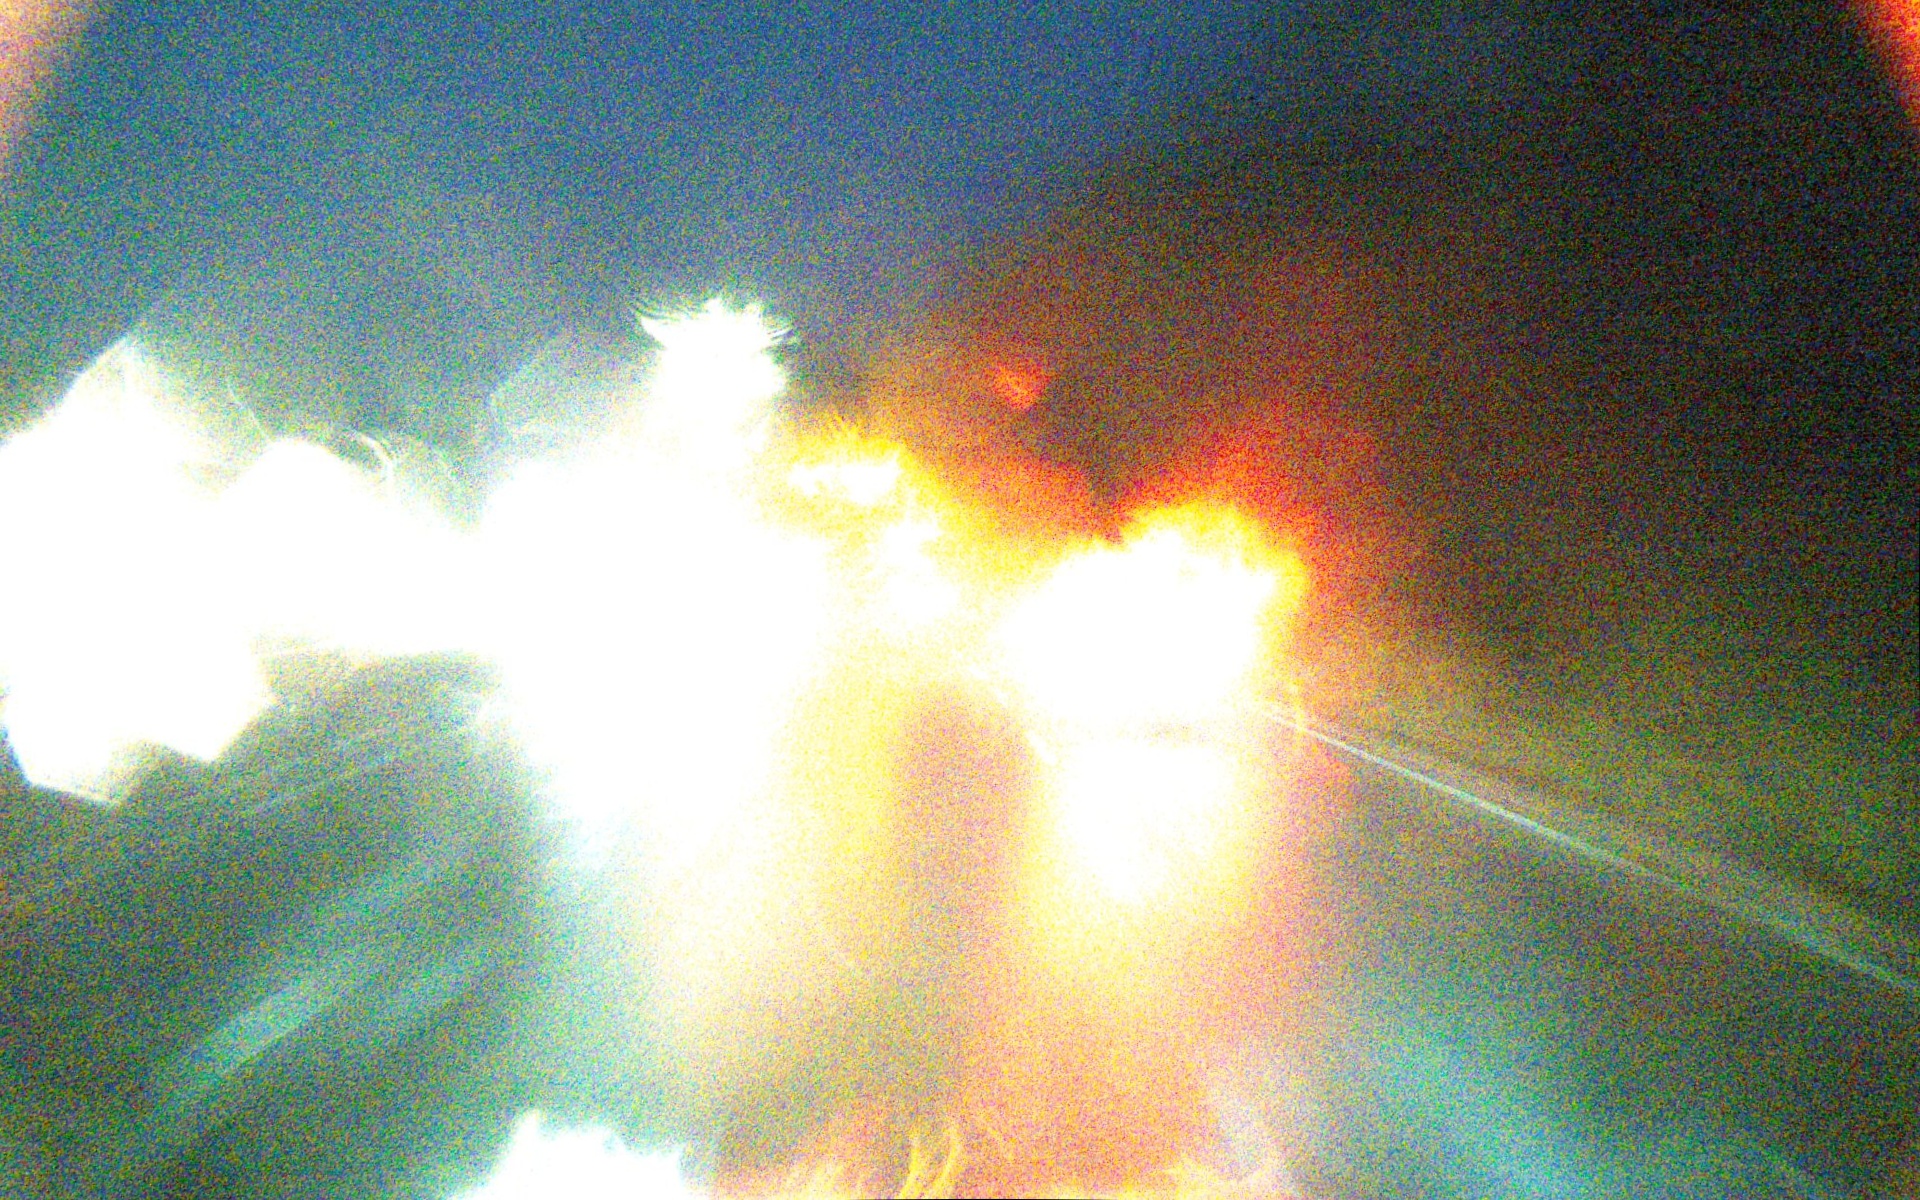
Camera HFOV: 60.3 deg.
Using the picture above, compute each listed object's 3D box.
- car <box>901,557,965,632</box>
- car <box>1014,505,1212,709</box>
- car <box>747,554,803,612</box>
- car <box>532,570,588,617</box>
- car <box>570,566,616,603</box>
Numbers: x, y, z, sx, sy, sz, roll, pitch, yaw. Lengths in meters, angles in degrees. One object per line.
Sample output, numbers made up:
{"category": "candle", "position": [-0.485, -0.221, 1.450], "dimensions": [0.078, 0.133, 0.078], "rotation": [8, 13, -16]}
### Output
{"category": "car", "position": [-0.780, -0.191, 47.858], "dimensions": [1.755, 2.057, 4.579], "rotation": [0, 1, -1]}
{"category": "car", "position": [1.622, 0.025, 19.041], "dimensions": [1.755, 2.057, 4.579], "rotation": [0, 1, -1]}
{"category": "car", "position": [-6.124, -0.583, 54.552], "dimensions": [1.750, 1.813, 4.429], "rotation": [0, 1, -7]}
{"category": "car", "position": [-14.442, -0.245, 59.855], "dimensions": [1.770, 1.616, 4.019], "rotation": [2, 0, -12]}
{"category": "car", "position": [-17.324, -0.746, 78.214], "dimensions": [1.728, 1.670, 4.644], "rotation": [2, 1, -9]}
